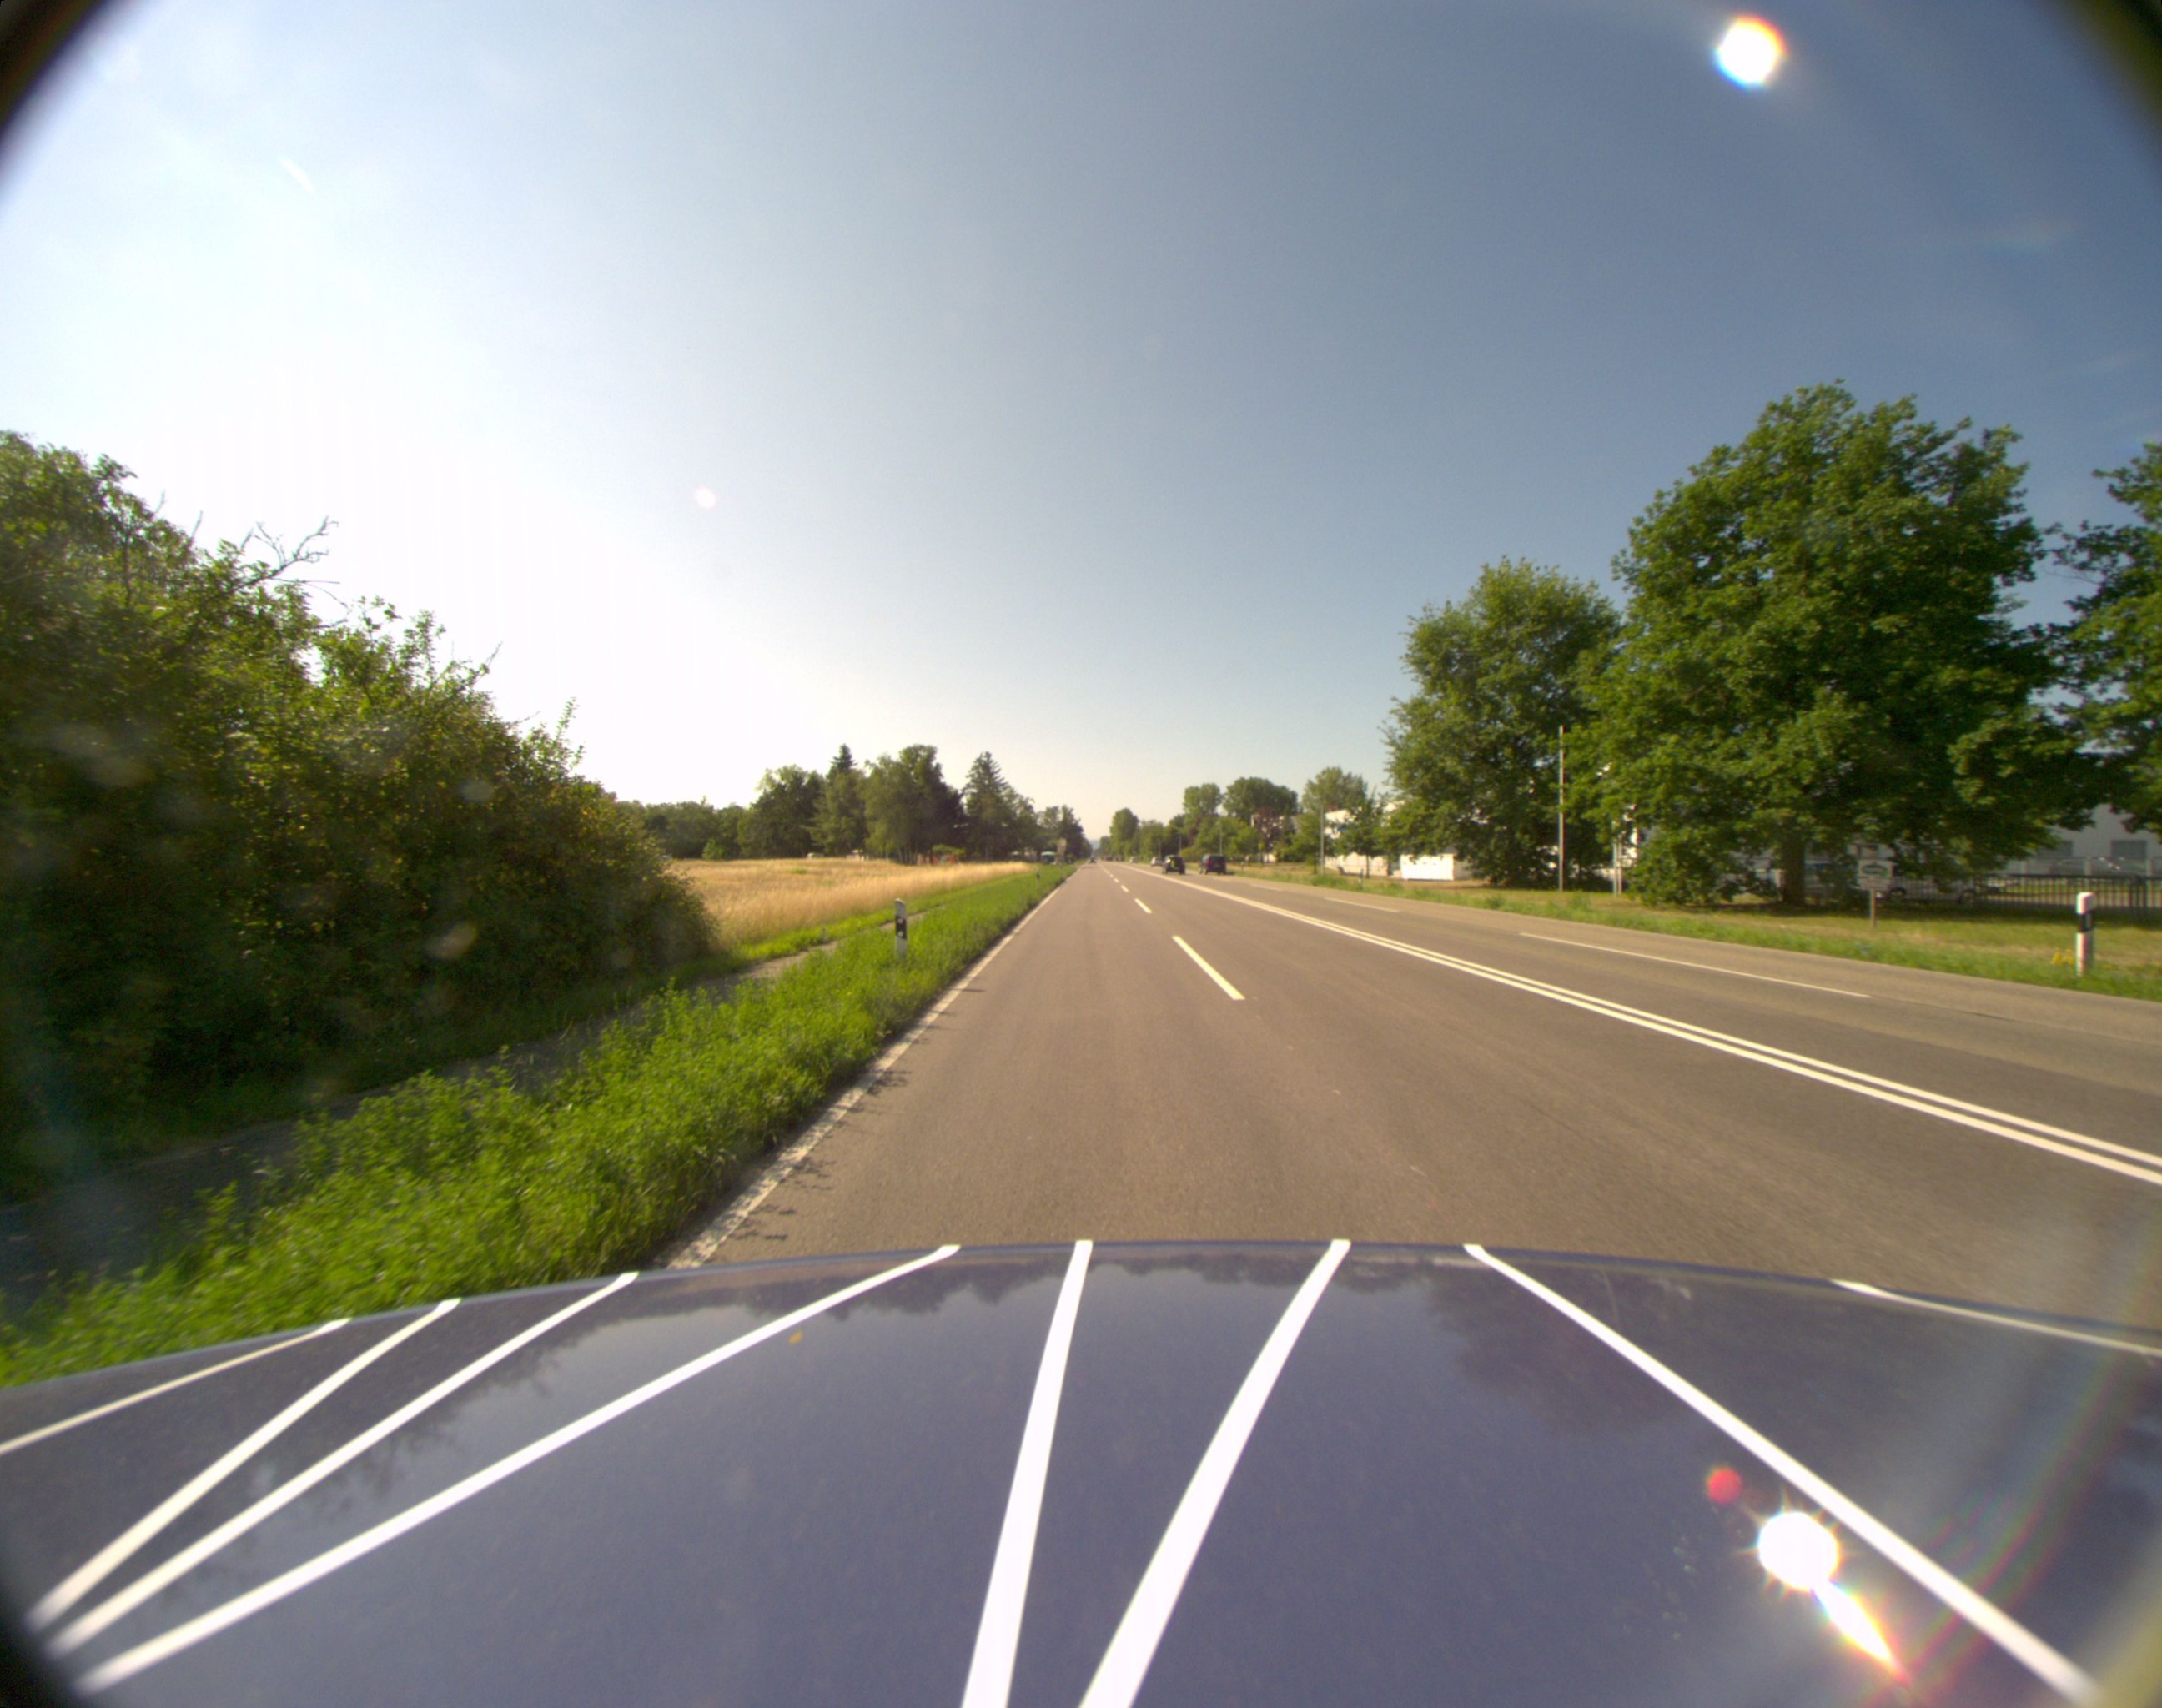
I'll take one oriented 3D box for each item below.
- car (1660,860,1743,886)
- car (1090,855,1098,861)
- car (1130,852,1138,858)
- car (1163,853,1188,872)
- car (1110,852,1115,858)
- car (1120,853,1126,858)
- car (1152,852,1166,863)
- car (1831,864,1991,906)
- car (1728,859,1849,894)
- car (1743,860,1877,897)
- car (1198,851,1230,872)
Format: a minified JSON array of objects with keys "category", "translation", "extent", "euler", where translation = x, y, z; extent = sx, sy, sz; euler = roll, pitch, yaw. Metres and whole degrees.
[{"category":"car","translation":[34.591,1.029,42.487],"extent":[1.640,1.382,3.722],"euler":[0,0,0]},{"category":"car","translation":[2.903,0.917,171.295],"extent":[1.768,1.403,4.001],"euler":[0,-1,2]},{"category":"car","translation":[12.111,0.244,173.265],"extent":[1.663,1.429,3.735],"euler":[2,0,1]},{"category":"car","translation":[7.582,0.642,60.985],"extent":[1.520,1.442,3.775],"euler":[2,0,1]},{"category":"car","translation":[10.245,0.296,248.109],"extent":[1.776,1.704,4.569],"euler":[2,0,2]},{"category":"car","translation":[13.306,0.370,240.391],"extent":[1.733,1.552,4.215],"euler":[2,0,1]},{"category":"car","translation":[11.530,0.517,112.262],"extent":[1.602,1.434,4.000],"euler":[2,0,1]},{"category":"car","translation":[30.943,1.135,28.414],"extent":[3.997,1.492,1.757],"euler":[0,0,1]},{"category":"car","translation":[32.885,0.992,35.404],"extent":[1.744,1.492,3.988],"euler":[0,1,-42]},{"category":"car","translation":[31.094,1.018,32.505],"extent":[3.997,1.492,1.757],"euler":[0,0,1]},{"category":"car","translation":[10.884,0.598,62.565],"extent":[1.830,1.662,4.389],"euler":[2,0,0]}]
